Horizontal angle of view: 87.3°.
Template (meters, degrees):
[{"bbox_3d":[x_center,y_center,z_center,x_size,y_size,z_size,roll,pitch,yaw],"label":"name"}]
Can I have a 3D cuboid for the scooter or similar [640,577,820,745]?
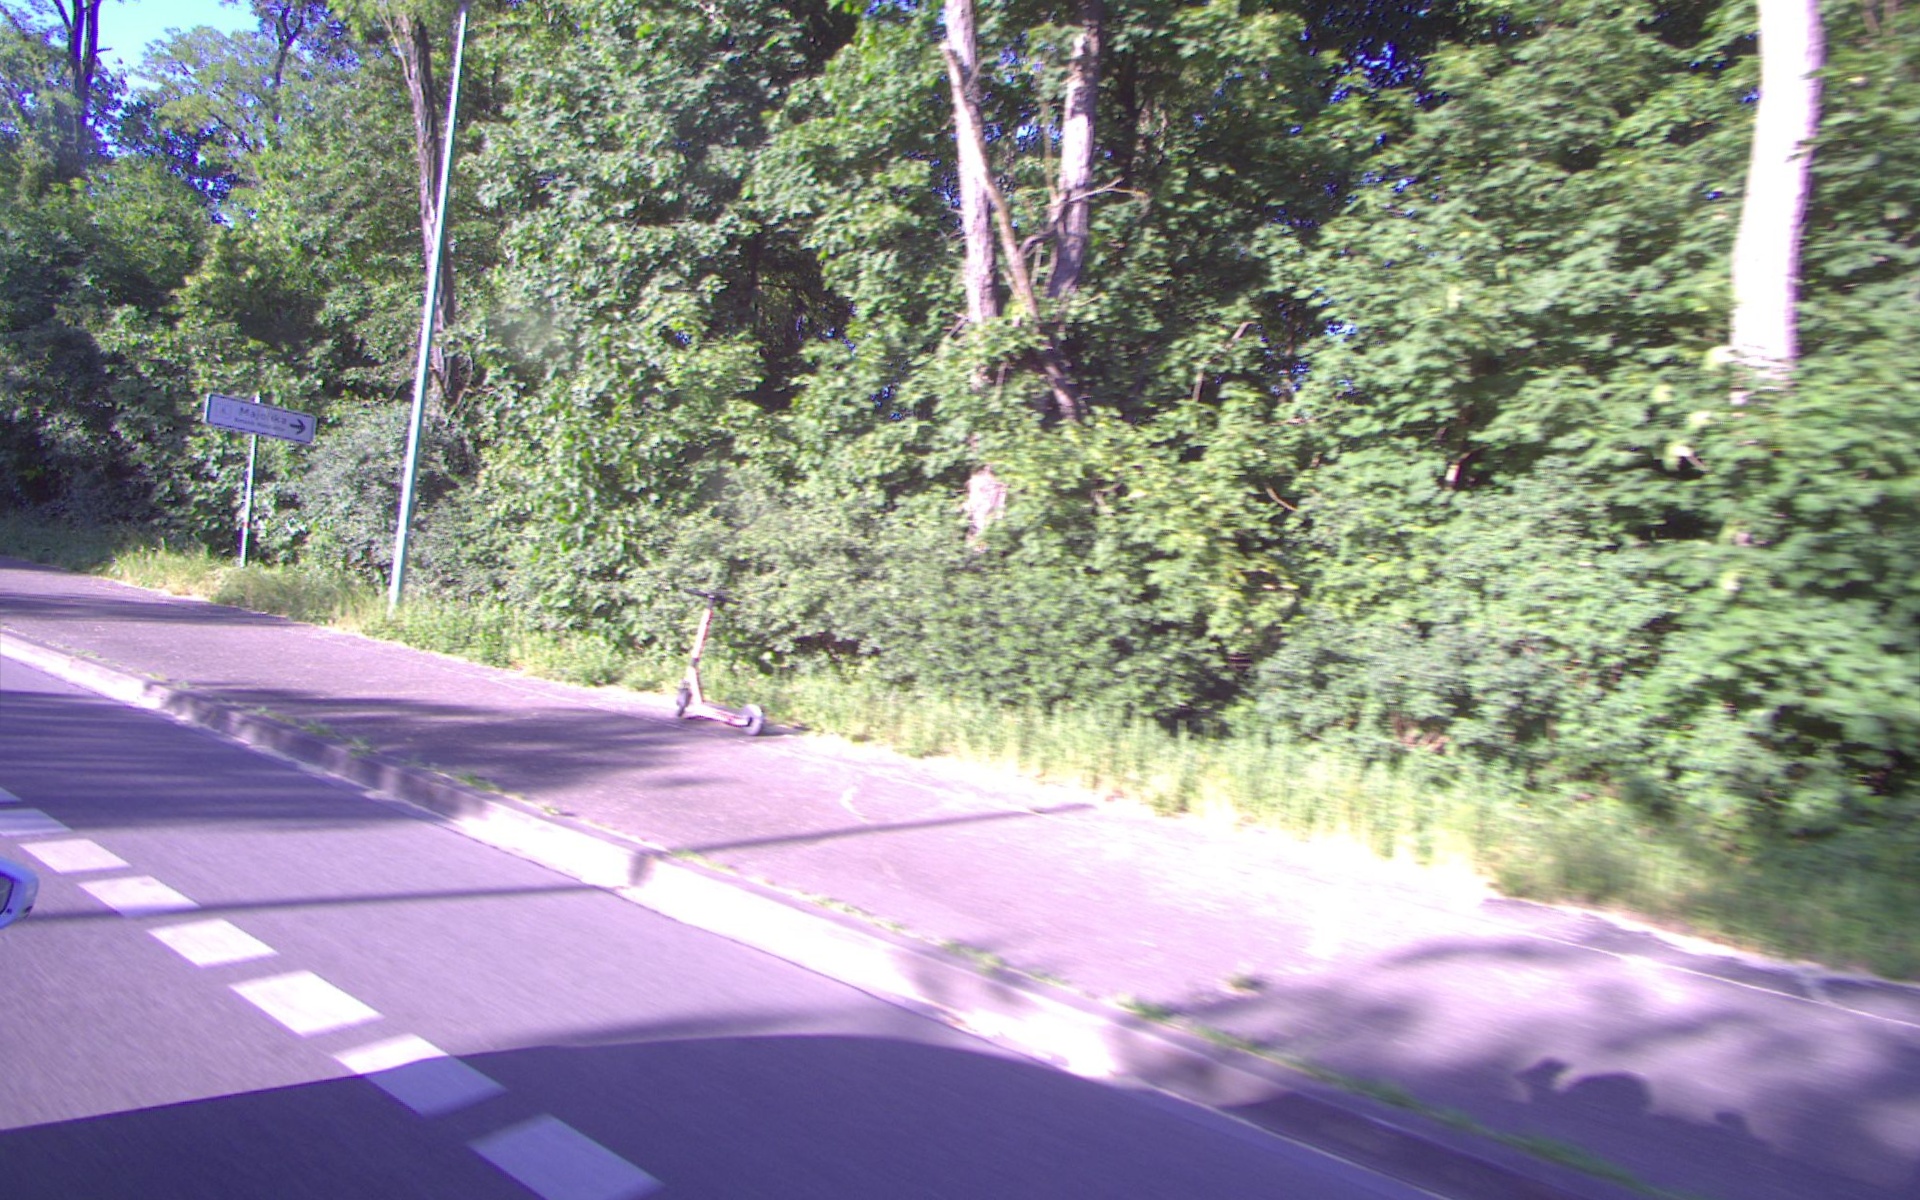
[{"bbox_3d":[-2.060,0.515,8.954,1.515,1.266,0.533,7,2,32],"label":"scooter or similar"}]
